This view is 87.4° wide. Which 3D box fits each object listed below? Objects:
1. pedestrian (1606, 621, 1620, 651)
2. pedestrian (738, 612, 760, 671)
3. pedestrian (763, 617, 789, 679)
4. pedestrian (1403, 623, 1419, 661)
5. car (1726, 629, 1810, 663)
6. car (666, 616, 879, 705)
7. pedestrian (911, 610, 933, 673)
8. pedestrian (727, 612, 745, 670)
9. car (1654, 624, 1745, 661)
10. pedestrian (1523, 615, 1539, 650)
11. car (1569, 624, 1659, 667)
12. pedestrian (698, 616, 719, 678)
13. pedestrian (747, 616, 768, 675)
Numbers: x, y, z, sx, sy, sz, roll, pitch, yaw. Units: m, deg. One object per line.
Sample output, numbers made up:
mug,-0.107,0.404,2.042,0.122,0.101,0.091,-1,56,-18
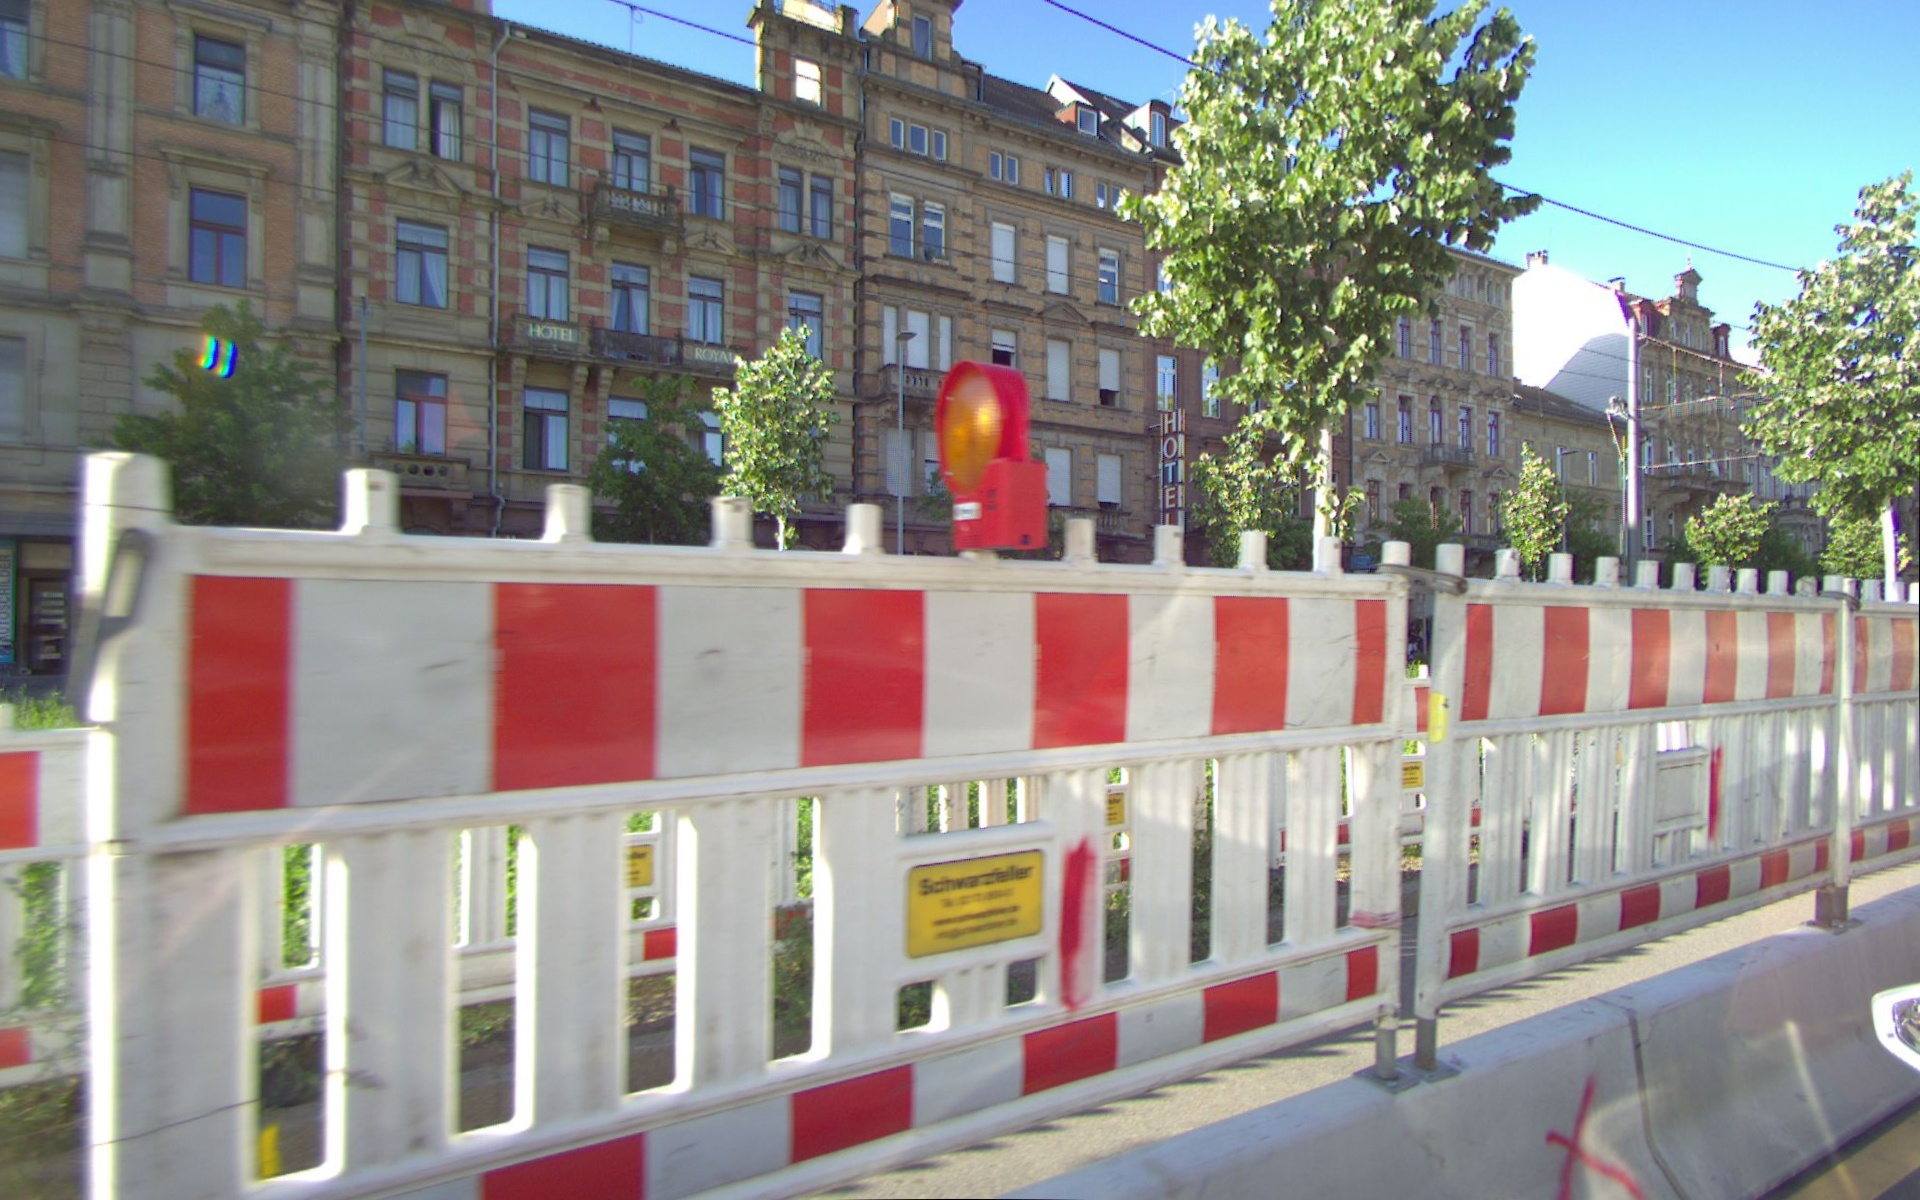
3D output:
pedestrian,33.541,1.854,51.611,0.430,1.555,0.403,1,1,-30
pedestrian,-5.920,1.158,28.151,0.474,1.606,0.482,1,0,1
pedestrian,-4.850,1.253,26.493,0.527,1.606,0.484,1,1,-30
pedestrian,19.350,1.813,43.079,0.381,1.606,0.431,1,1,-33
car,38.540,2.166,47.882,4.660,1.583,1.559,1,-2,-31
car,-3.462,1.072,18.603,3.578,1.502,1.588,1,-2,-29
pedestrian,-1.088,1.203,28.976,0.401,1.788,0.505,1,1,-30
pedestrian,-6.320,1.147,28.310,0.383,1.606,0.386,1,0,1
car,32.991,1.871,44.763,4.659,1.583,1.559,1,-2,-30
pedestrian,26.655,1.521,46.875,0.431,1.606,0.457,1,1,-36
car,26.861,1.835,41.238,3.764,1.697,1.559,1,-2,-30
pedestrian,-6.618,1.231,26.420,0.421,1.606,0.401,1,1,-30
pedestrian,-5.620,1.267,27.903,0.361,1.606,0.406,2,0,21
